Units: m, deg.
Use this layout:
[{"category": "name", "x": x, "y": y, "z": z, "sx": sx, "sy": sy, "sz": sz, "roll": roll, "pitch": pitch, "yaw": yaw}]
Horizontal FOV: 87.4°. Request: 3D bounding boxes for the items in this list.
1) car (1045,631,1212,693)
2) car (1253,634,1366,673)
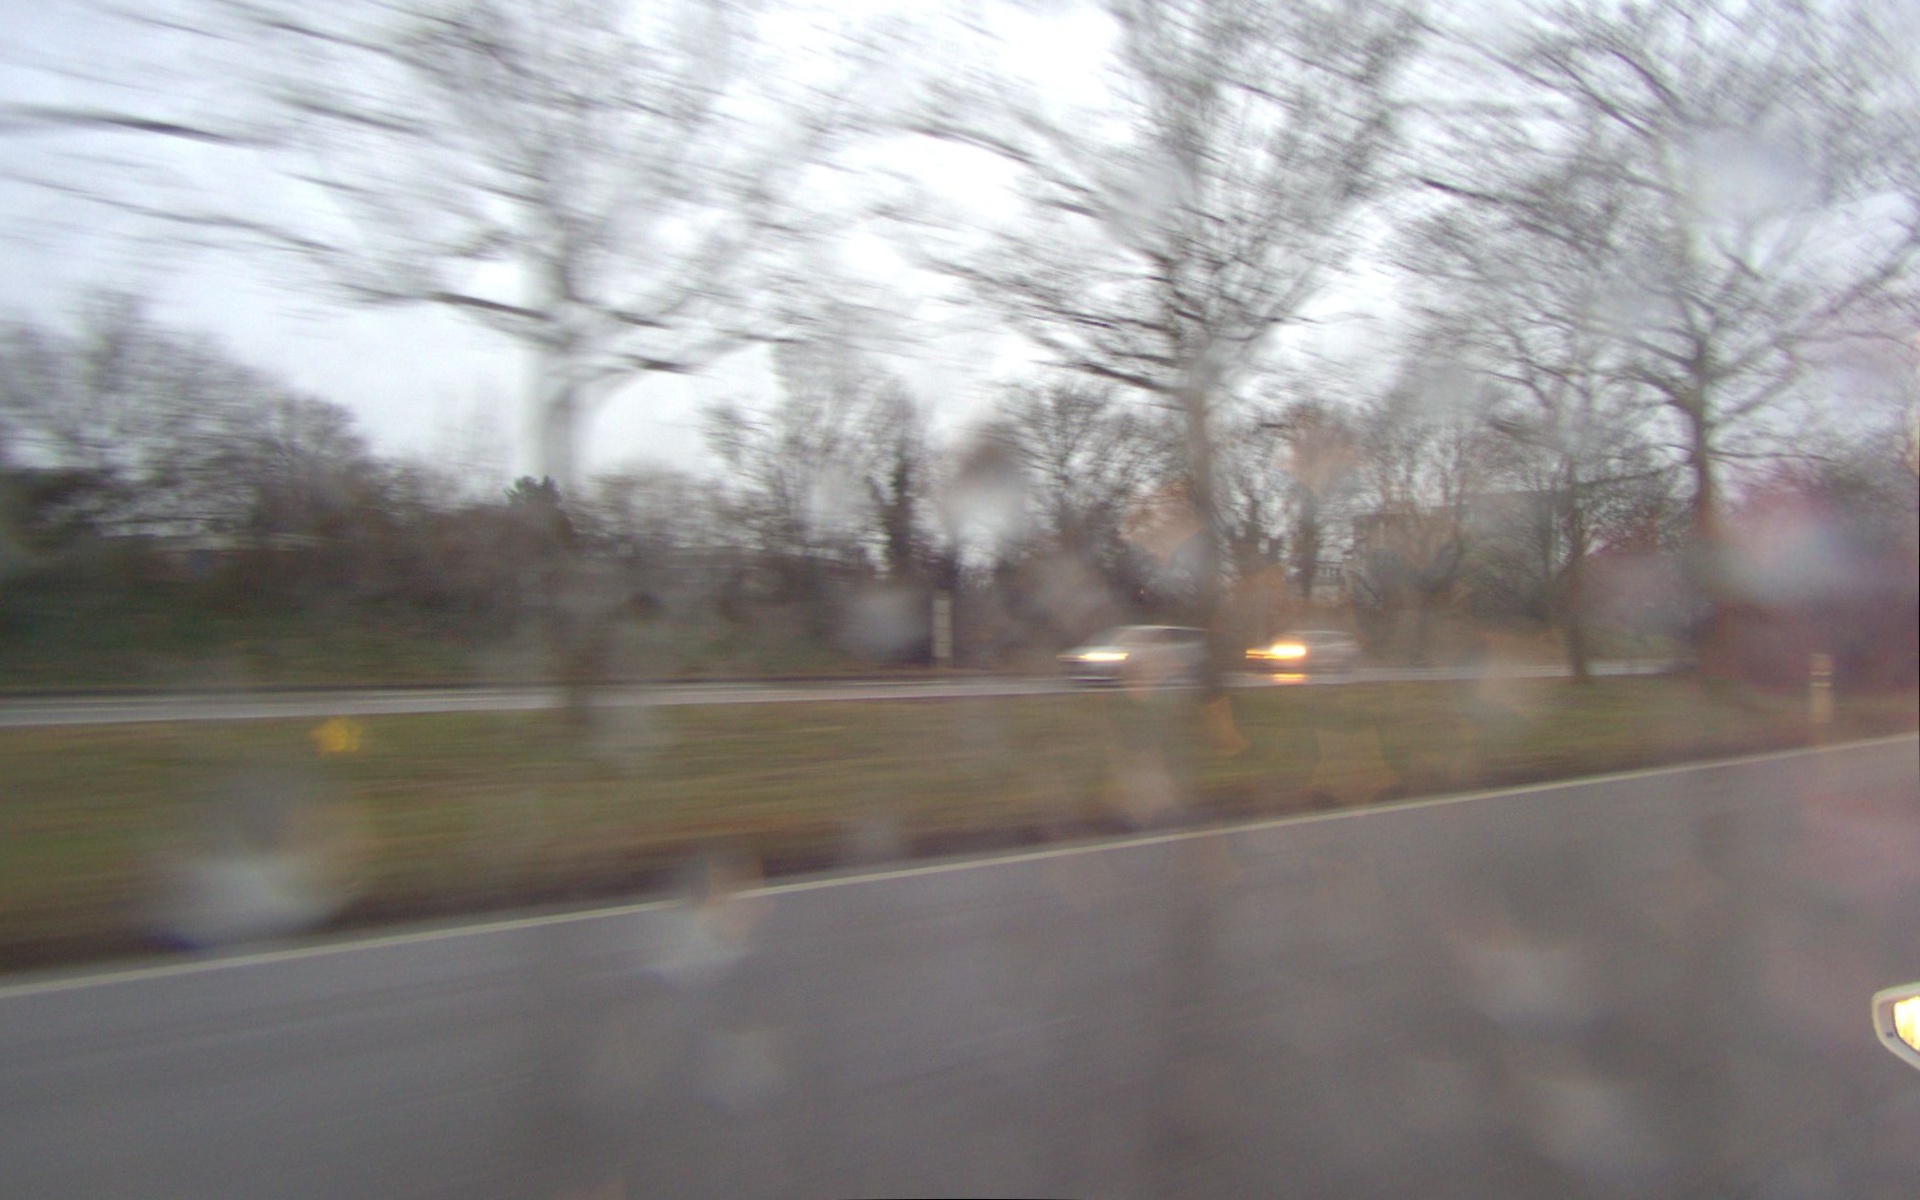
[{"category": "car", "x": 4.262, "y": 1.534, "z": 25.259, "sx": 3.931, "sy": 1.443, "sz": 1.740, "roll": 2, "pitch": -2, "yaw": -30}, {"category": "car", "x": 12.690, "y": 1.934, "z": 36.432, "sx": 4.053, "sy": 1.319, "sz": 1.572, "roll": 2, "pitch": -2, "yaw": -28}]
